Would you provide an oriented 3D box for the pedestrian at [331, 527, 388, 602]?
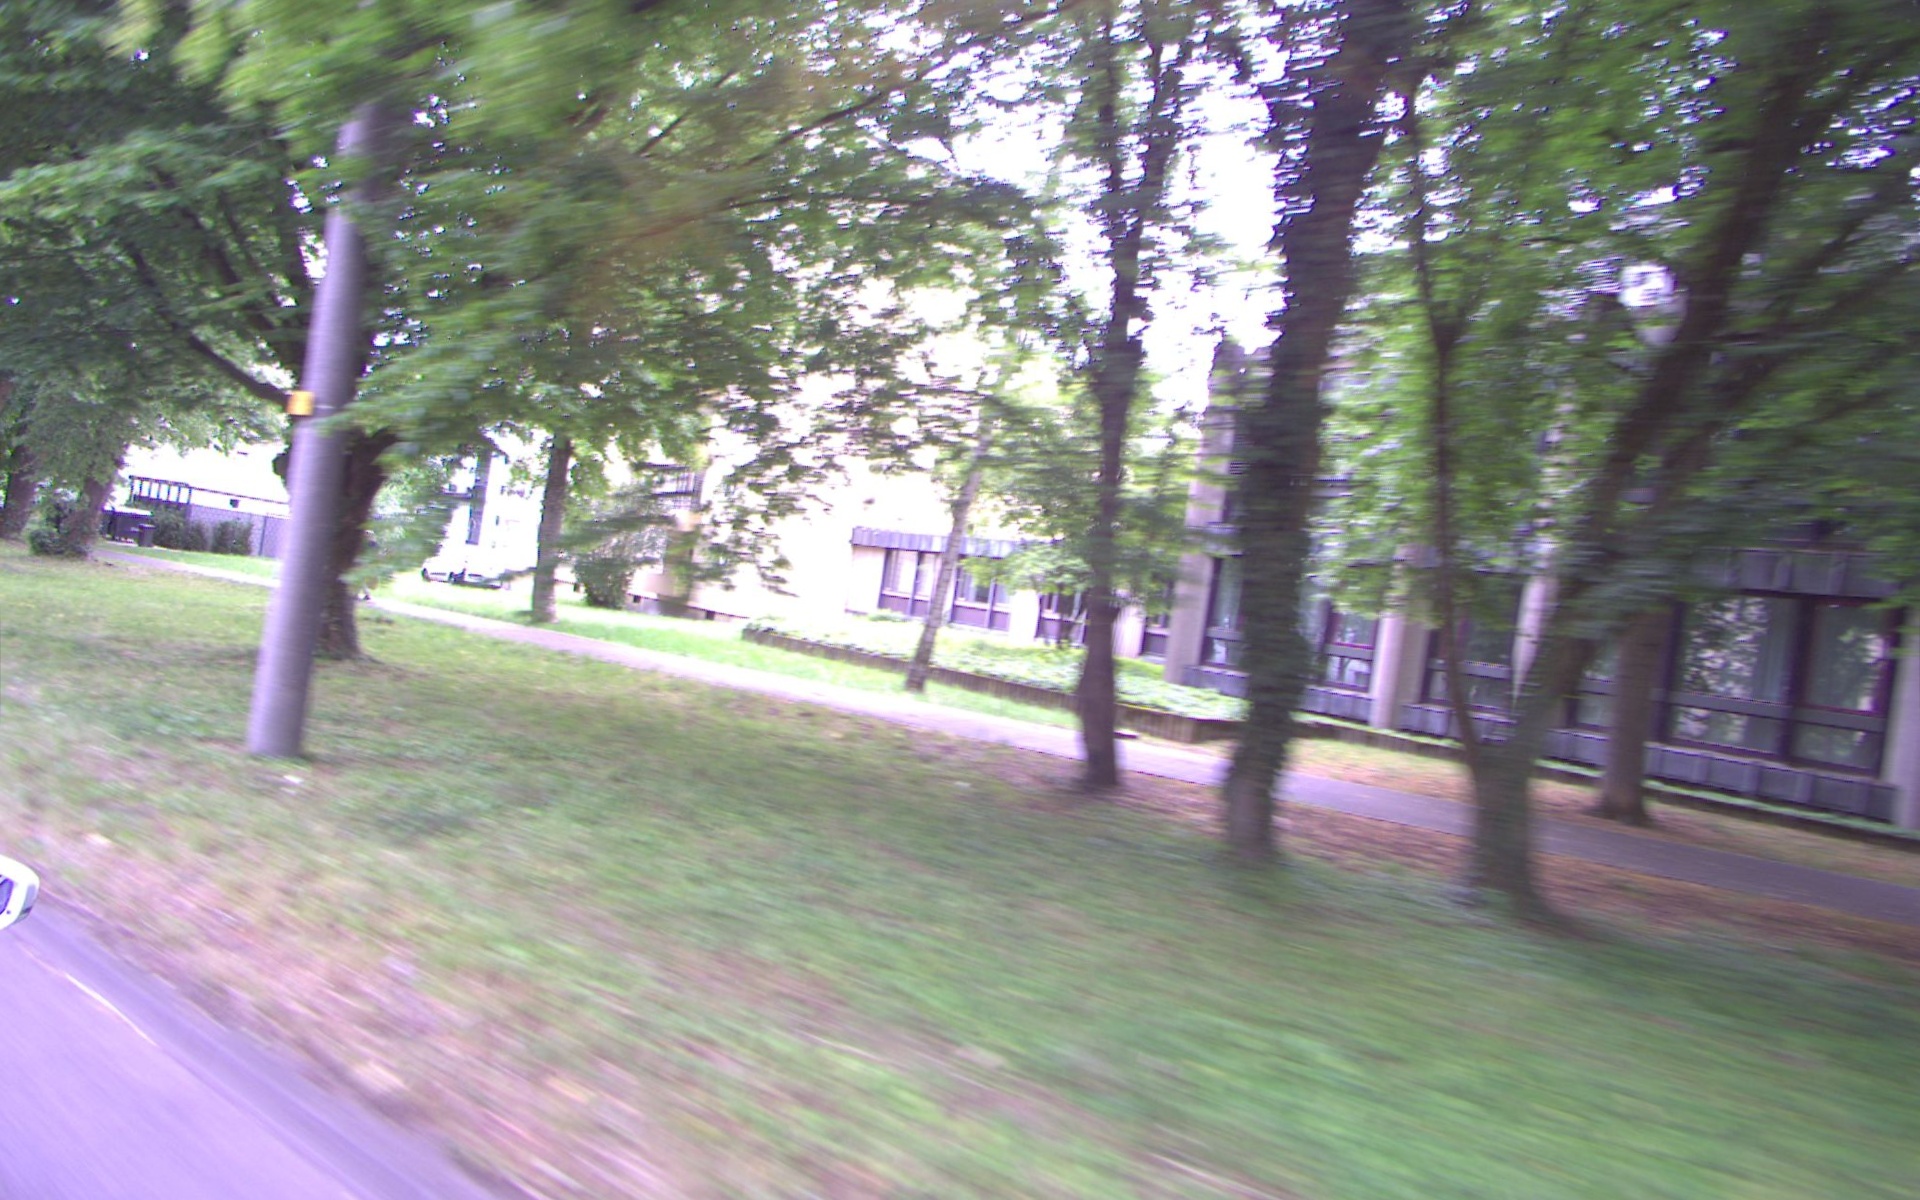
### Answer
[{"bbox_3d":[-14.748,-0.860,24.701,0.801,1.707,0.769,7,0,31],"label":"pedestrian"}]

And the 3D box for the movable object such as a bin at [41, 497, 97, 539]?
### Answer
[{"bbox_3d":[-37.853,-3.460,42.723,1.292,1.519,1.329,7,0,30],"label":"movable object such as a bin"}]

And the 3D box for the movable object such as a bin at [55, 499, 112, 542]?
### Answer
[{"bbox_3d":[-36.628,-3.314,42.036,1.292,1.519,1.329,7,0,30],"label":"movable object such as a bin"}]

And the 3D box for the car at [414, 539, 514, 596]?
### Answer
[{"bbox_3d":[-21.865,-1.460,44.239,4.896,1.865,2.084,8,1,41],"label":"car"}]

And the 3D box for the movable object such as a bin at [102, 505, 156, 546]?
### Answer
[{"bbox_3d":[-35.802,-3.196,43.352,1.292,1.519,1.329,7,0,30],"label":"movable object such as a bin"}]

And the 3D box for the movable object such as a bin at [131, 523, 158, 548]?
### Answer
[{"bbox_3d":[-34.261,-2.709,42.264,0.657,0.889,0.599,7,0,30],"label":"movable object such as a bin"}]
